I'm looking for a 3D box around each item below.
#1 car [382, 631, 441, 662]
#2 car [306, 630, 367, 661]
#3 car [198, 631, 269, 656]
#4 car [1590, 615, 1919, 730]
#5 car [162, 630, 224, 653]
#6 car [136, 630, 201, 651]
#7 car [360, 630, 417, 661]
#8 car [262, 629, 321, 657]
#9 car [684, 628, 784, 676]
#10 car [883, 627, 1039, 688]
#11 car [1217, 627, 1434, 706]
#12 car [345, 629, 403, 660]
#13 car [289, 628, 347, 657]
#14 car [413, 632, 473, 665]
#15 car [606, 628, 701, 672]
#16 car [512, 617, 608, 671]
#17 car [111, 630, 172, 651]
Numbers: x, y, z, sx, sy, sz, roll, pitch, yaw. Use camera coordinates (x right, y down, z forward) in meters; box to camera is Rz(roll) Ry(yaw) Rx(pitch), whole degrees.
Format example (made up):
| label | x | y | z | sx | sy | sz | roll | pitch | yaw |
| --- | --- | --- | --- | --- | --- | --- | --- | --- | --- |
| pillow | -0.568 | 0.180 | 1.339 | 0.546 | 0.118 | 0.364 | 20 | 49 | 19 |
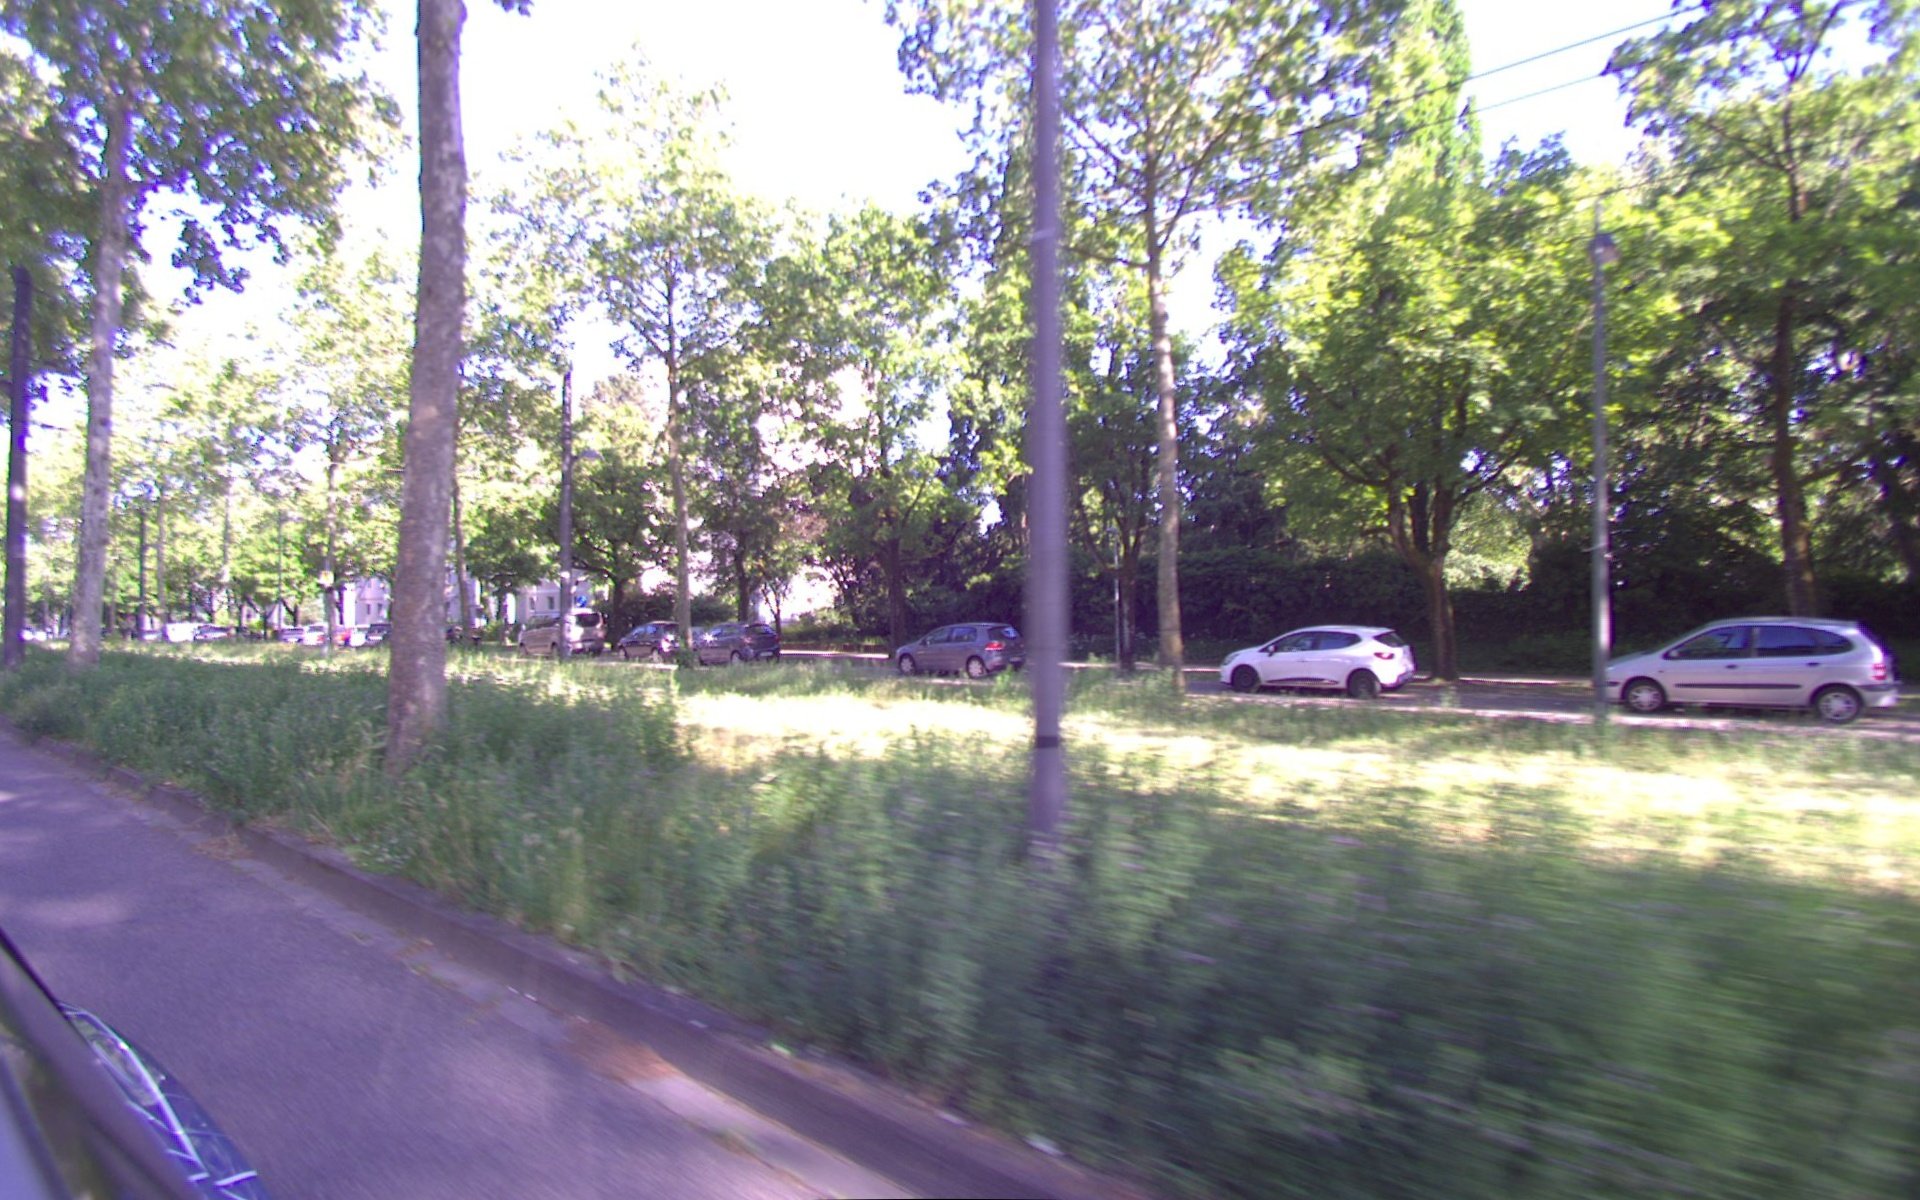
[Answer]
| label | x | y | z | sx | sy | sz | roll | pitch | yaw |
| --- | --- | --- | --- | --- | --- | --- | --- | --- | --- |
| car | -30.662 | 2.584 | 56.698 | 1.858 | 1.579 | 4.010 | -1 | 0 | -13 |
| car | -38.880 | 2.796 | 63.198 | 1.868 | 1.722 | 4.511 | -1 | 0 | -13 |
| car | -56.409 | 3.353 | 78.650 | 1.879 | 1.722 | 4.487 | -1 | 0 | 9 |
| car | 13.262 | 1.110 | 17.091 | 4.188 | 1.608 | 1.796 | -1 | 2 | 42 |
| car | -64.333 | 3.473 | 84.927 | 1.821 | 1.722 | 3.988 | -1 | 0 | 9 |
| car | -69.461 | 3.551 | 88.879 | 1.821 | 1.722 | 4.487 | -1 | 0 | 9 |
| car | -33.328 | 2.626 | 59.125 | 1.858 | 1.579 | 4.010 | -1 | 0 | -13 |
| car | -45.029 | 2.875 | 68.276 | 1.868 | 1.722 | 4.511 | -1 | 0 | -13 |
| car | -7.895 | 1.765 | 35.203 | 3.568 | 1.499 | 1.525 | -2 | 1 | 41 |
| car | -0.022 | 1.571 | 28.608 | 4.175 | 1.499 | 1.820 | -2 | 2 | 40 |
| car | 7.773 | 1.359 | 21.734 | 4.022 | 1.429 | 1.701 | -1 | 1 | 42 |
| car | -36.261 | 2.744 | 62.762 | 1.868 | 1.722 | 4.511 | -1 | 0 | -13 |
| car | -42.095 | 2.785 | 66.465 | 1.868 | 1.722 | 4.511 | -1 | 0 | -13 |
| car | -27.239 | 2.529 | 53.437 | 1.858 | 1.579 | 4.010 | -1 | 0 | -13 |
| car | -11.810 | 1.878 | 38.886 | 3.816 | 1.507 | 1.732 | -1 | 2 | 42 |
| car | -17.069 | 1.815 | 43.095 | 4.276 | 2.072 | 1.962 | -1 | 2 | 41 |
| car | -72.516 | 3.589 | 89.716 | 1.821 | 1.722 | 3.988 | -1 | 0 | 9 |
